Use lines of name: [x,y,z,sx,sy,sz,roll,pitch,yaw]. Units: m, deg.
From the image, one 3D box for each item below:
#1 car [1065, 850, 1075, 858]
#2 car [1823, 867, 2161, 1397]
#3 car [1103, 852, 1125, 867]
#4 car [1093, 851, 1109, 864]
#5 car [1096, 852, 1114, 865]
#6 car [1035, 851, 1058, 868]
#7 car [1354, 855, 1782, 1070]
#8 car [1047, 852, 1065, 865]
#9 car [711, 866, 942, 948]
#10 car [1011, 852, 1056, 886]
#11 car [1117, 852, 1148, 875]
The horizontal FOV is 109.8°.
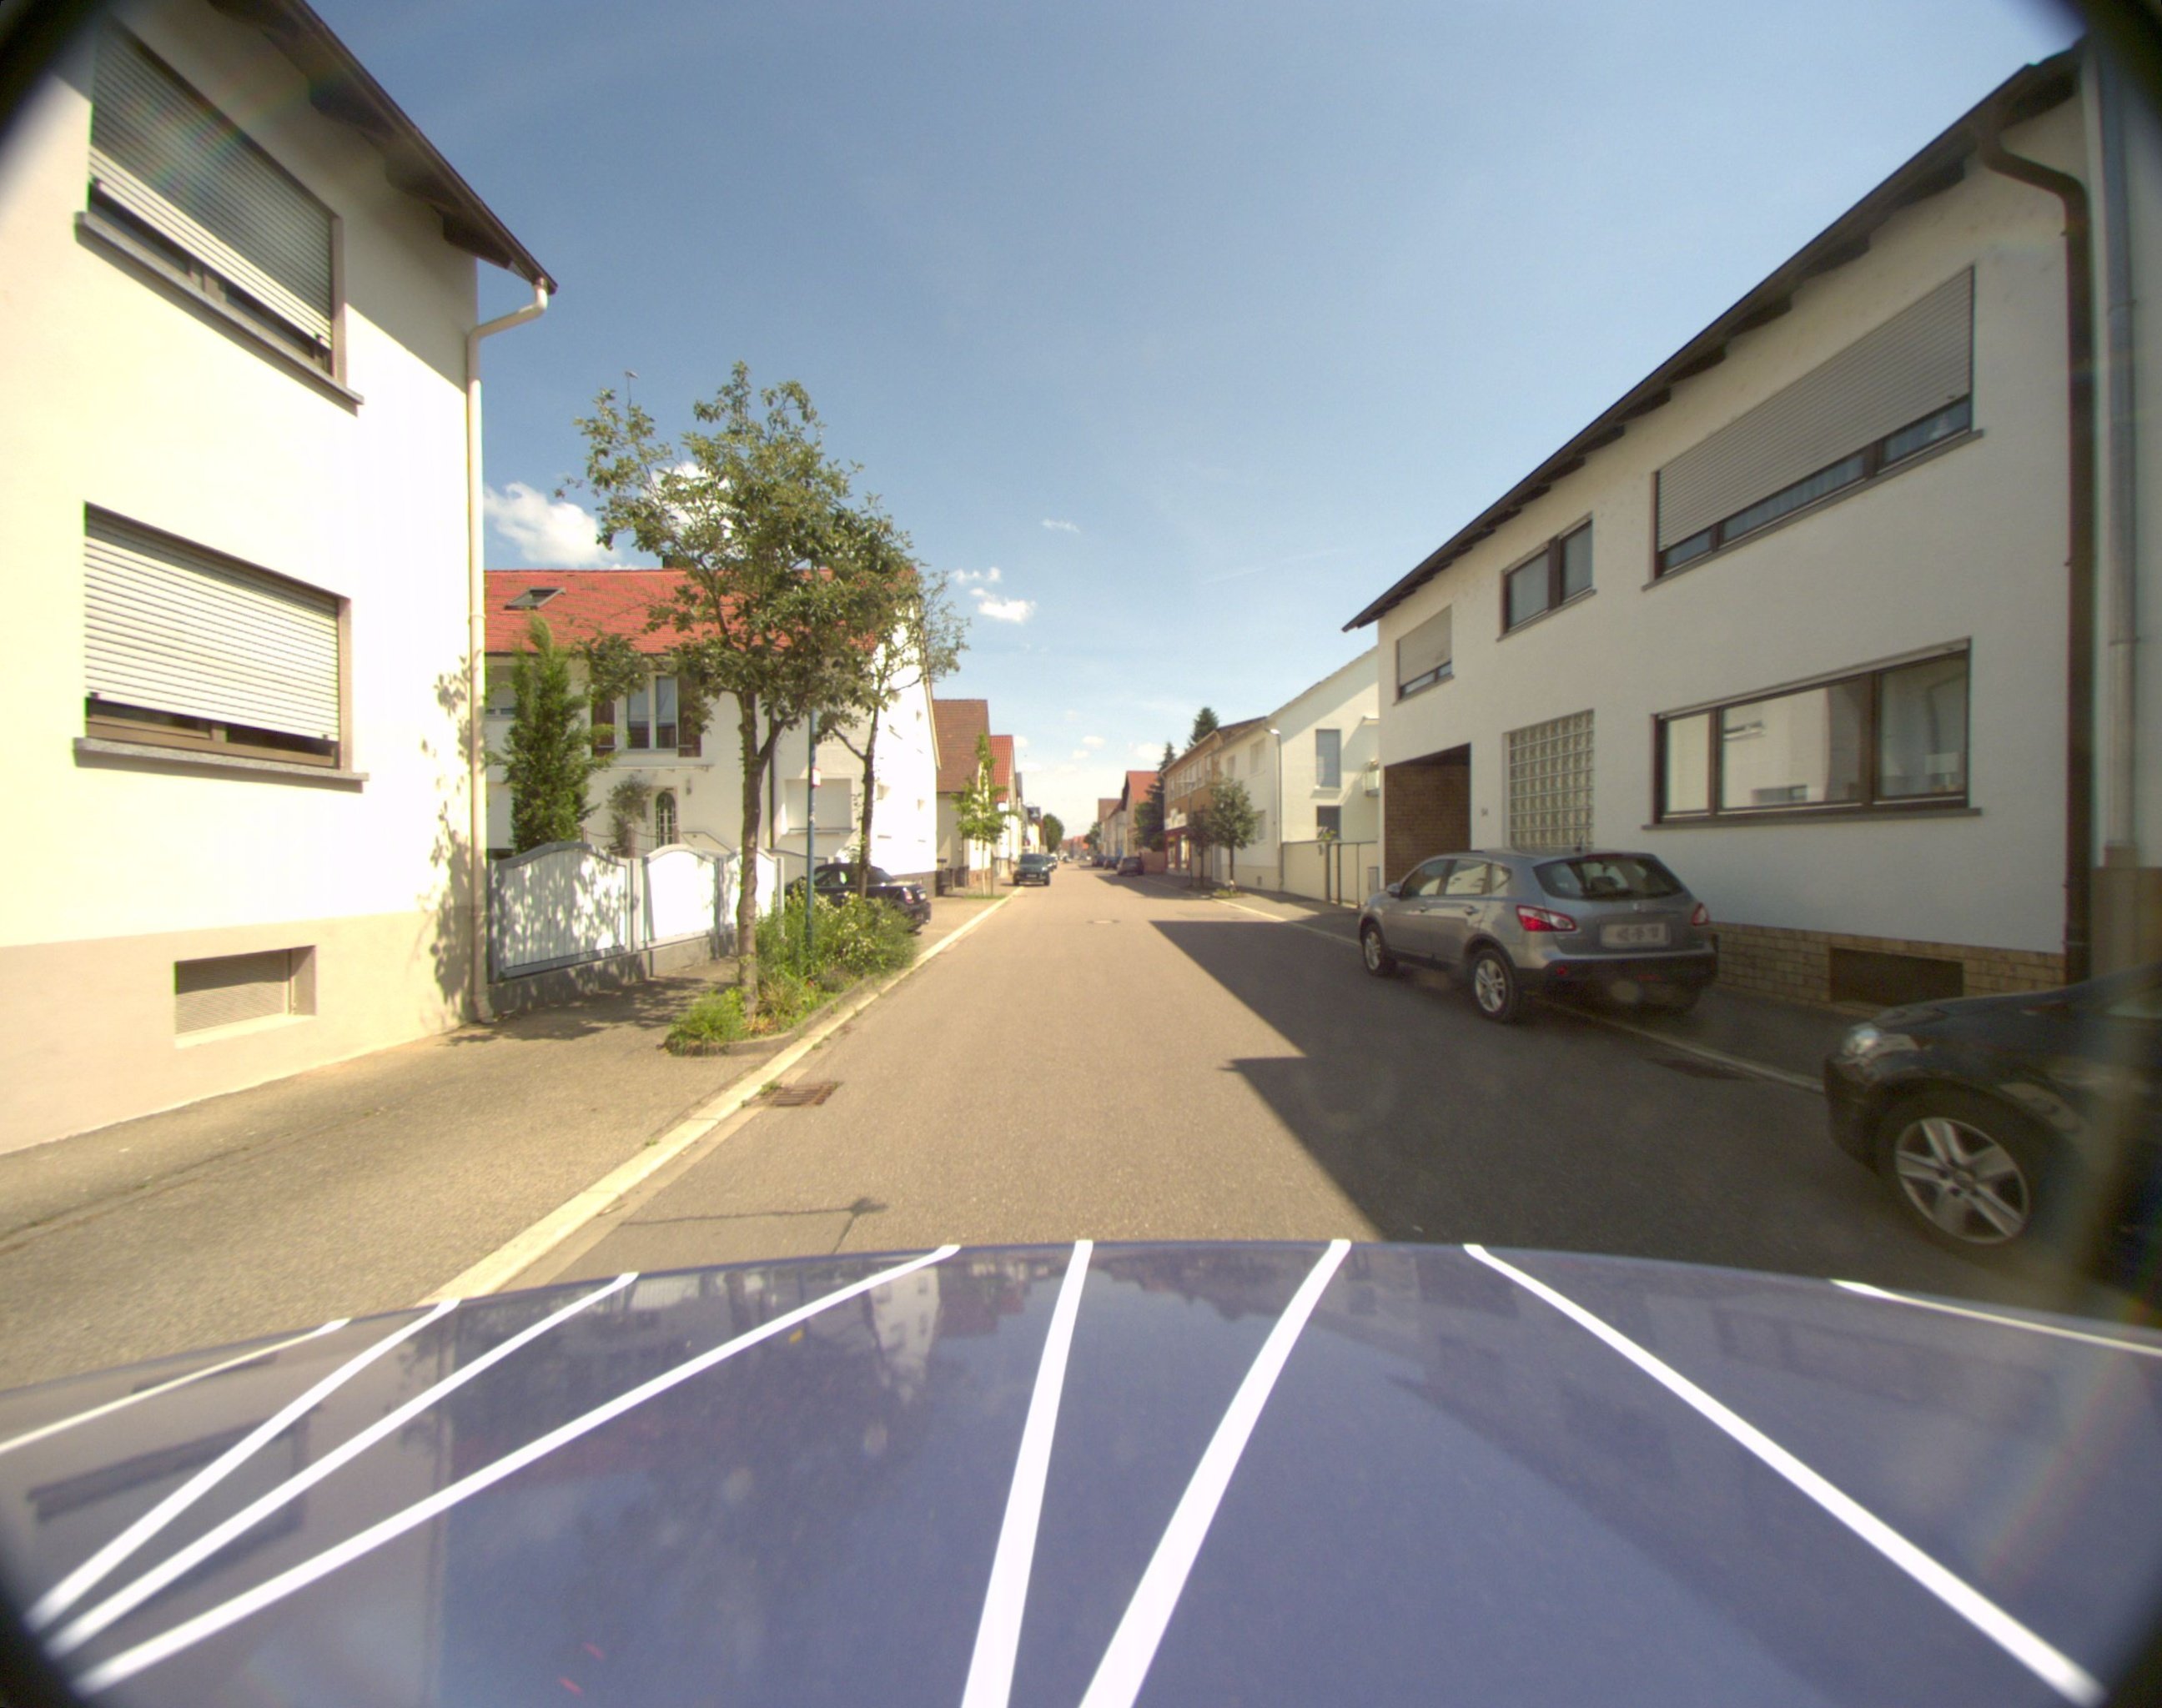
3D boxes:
car: [-2.059,0.023,143.823,1.958,1.521,3.999,0,0,0]
car: [4.167,0.853,1.348,1.752,1.557,3.954,-1,0,-3]
car: [3.373,0.557,78.367,1.855,1.543,3.999,-1,0,-3]
car: [2.688,0.457,102.287,1.999,1.570,3.999,-1,0,-1]
car: [3.025,0.513,96.334,1.999,1.570,3.999,-1,0,-3]
car: [-3.259,0.497,71.796,1.958,1.521,3.999,0,0,0]
car: [4.487,0.836,7.900,1.758,1.608,4.120,-1,0,-1]
car: [-2.952,0.487,88.948,1.958,1.521,3.999,0,0,0]
car: [-4.790,0.989,14.641,3.814,1.420,1.728,-1,0,3]
car: [-2.409,0.738,39.557,1.998,1.696,4.000,0,0,1]
car: [3.842,0.693,57.191,1.852,1.689,3.999,-1,0,-3]
